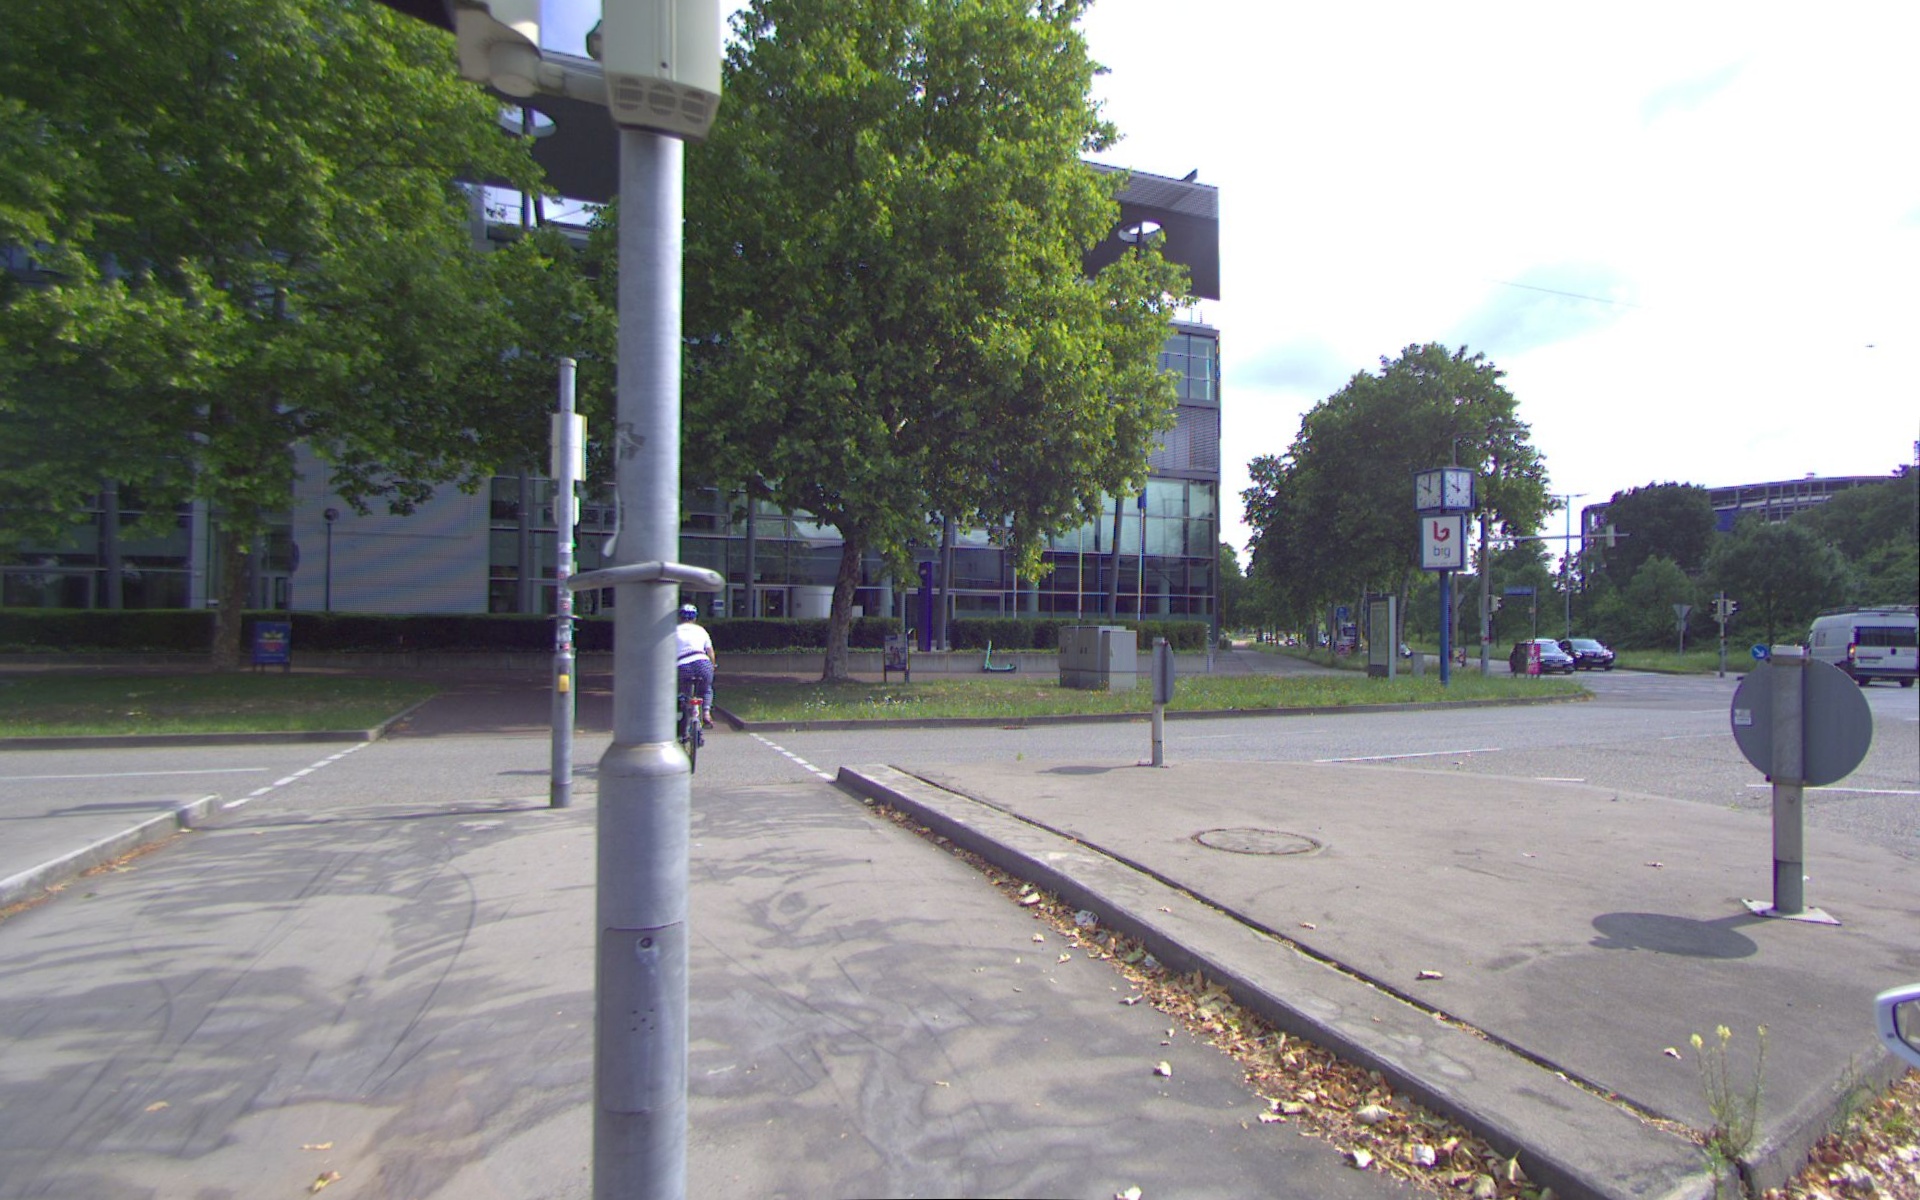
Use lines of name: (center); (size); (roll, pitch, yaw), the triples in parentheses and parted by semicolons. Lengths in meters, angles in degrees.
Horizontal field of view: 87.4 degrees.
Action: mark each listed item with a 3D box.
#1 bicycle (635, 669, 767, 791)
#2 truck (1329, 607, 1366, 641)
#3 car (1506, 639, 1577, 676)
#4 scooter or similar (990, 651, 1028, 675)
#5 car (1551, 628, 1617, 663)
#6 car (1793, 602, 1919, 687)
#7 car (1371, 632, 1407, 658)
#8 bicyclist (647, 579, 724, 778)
bicycle: (-2.777, 1.302, 10.573); (0.875, 1.100, 2.167); (3, -4, -27)
truck: (46.919, 2.930, 121.899); (2.605, 3.939, 10.167); (0, -1, 12)
car: (27.589, 2.729, 47.810); (1.833, 1.594, 4.571); (2, -2, 16)
scooter or similar: (1.580, 2.048, 32.569); (1.211, 0.722, 0.240); (2, -2, -17)
car: (31.770, 2.350, 51.286); (1.679, 1.608, 4.365); (2, -3, 16)
car: (32.002, 1.609, 35.822); (2.162, 2.761, 4.931); (2, -3, 23)
car: (30.388, 3.154, 71.235); (1.700, 1.592, 4.002); (4, 1, 15)
bicyclist: (-2.940, 0.818, 10.746); (0.596, 2.040, 0.726); (2, -1, -27)
